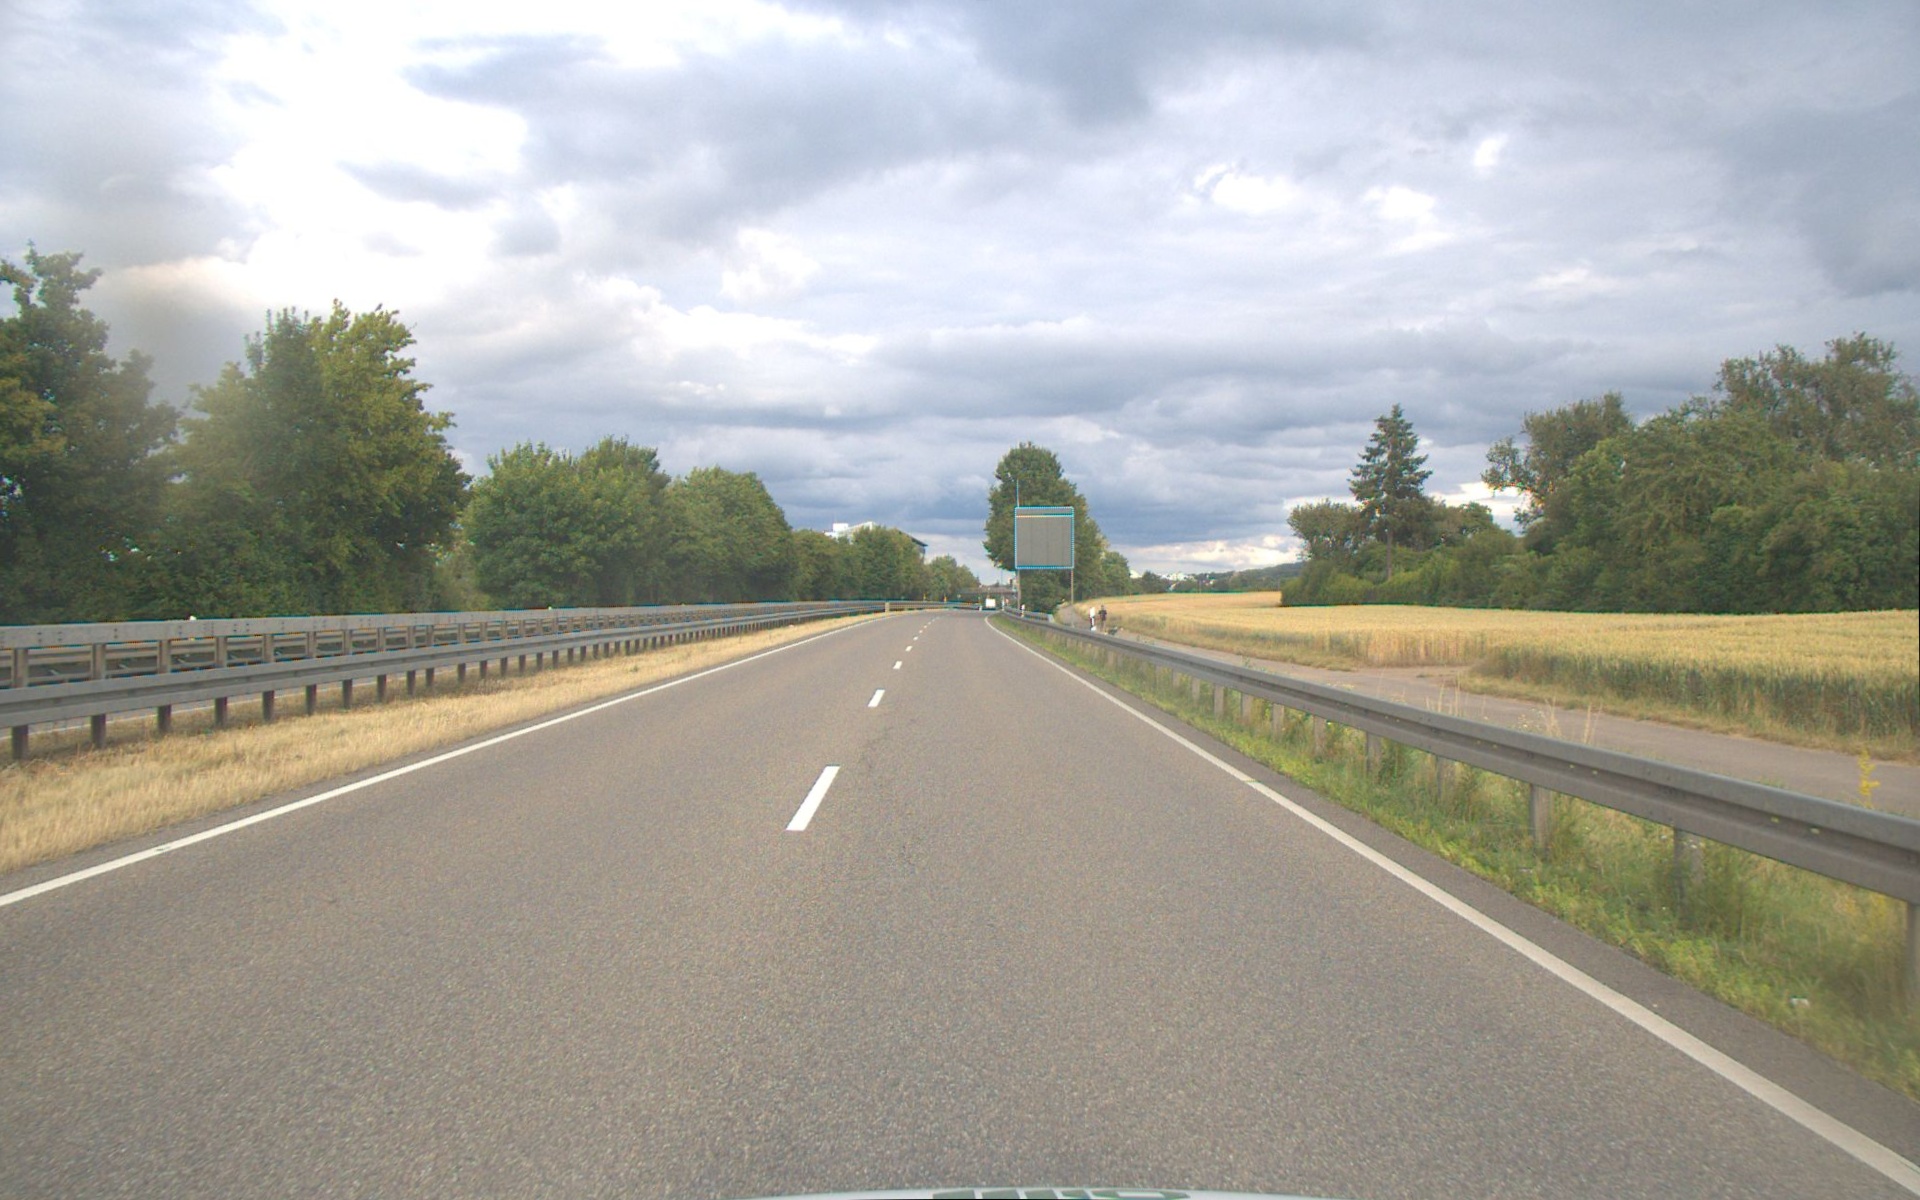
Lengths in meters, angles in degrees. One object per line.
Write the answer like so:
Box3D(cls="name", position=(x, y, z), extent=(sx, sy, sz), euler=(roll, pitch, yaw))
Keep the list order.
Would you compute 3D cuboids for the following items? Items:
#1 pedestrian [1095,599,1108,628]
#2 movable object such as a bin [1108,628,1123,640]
Box3D(cls="pedestrian", position=(9.479, 0.928, 110.658), extent=(0.755, 1.900, 0.940), euler=(2, -1, 0))
Box3D(cls="movable object such as a bin", position=(9.221, 2.020, 98.169), extent=(0.717, 0.657, 1.235), euler=(2, -1, 0))
